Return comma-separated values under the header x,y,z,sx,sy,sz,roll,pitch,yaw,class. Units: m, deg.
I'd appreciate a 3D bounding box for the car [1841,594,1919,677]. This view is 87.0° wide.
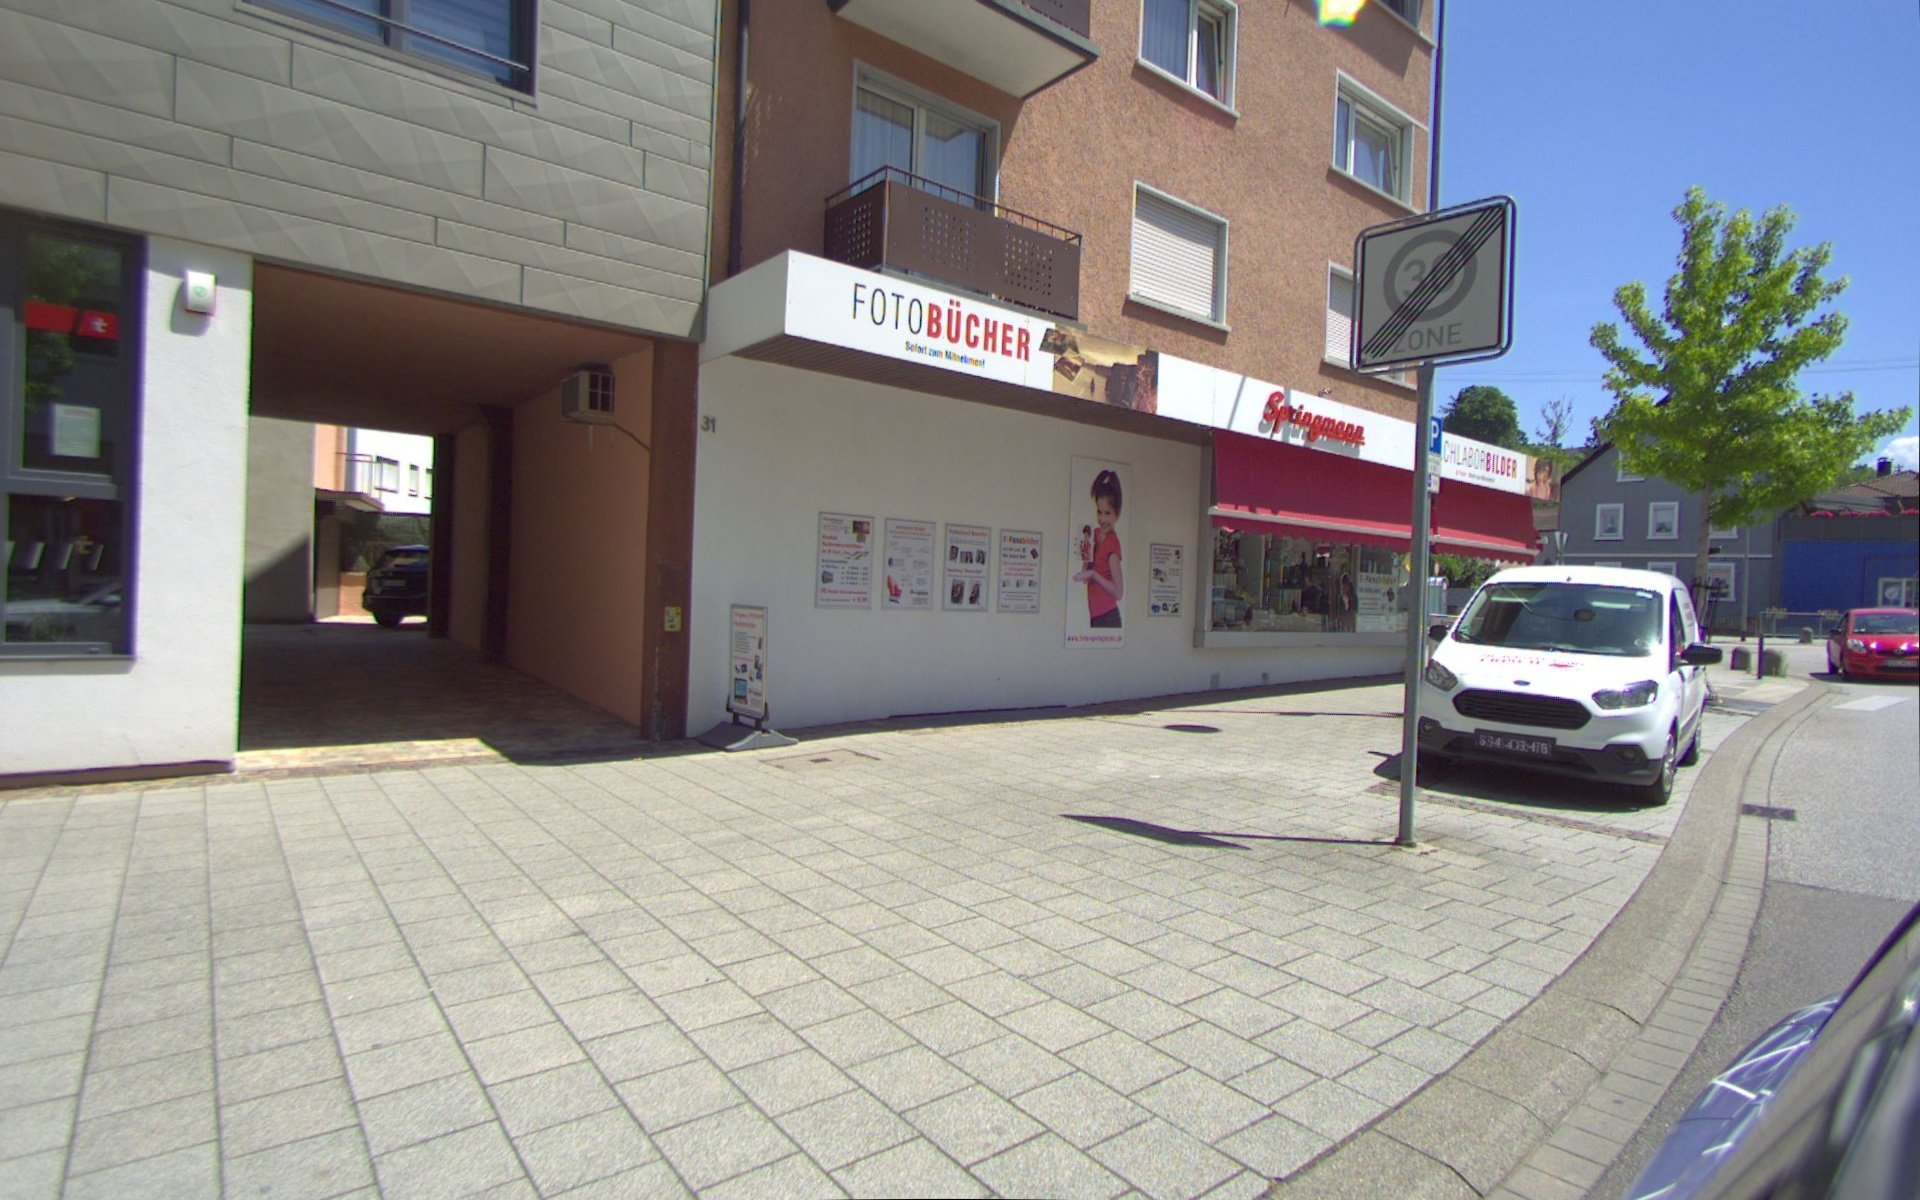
x,y,z,sx,sy,sz,roll,pitch,yaw,class
20.259,0.708,21.827,1.826,1.552,3.942,-1,1,41,car

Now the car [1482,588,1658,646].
x,y,z,sx,sy,sz,roll,pitch,yaw,class
19.742,0.497,32.906,1.964,1.709,4.522,0,1,-39,car

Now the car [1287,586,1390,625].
x,y,z,sx,sy,sz,roll,pitch,yaw,class
18.189,0.236,48.698,4.262,1.603,1.975,1,5,37,car

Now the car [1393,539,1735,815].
x,y,z,sx,sy,sz,roll,pitch,yaw,class
5.235,0.463,8.527,1.746,1.745,3.852,4,3,41,car

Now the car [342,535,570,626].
x,y,z,sx,sy,sz,roll,pitch,yaw,class
-9.751,-0.390,19.946,1.662,1.573,3.975,2,2,19,car
